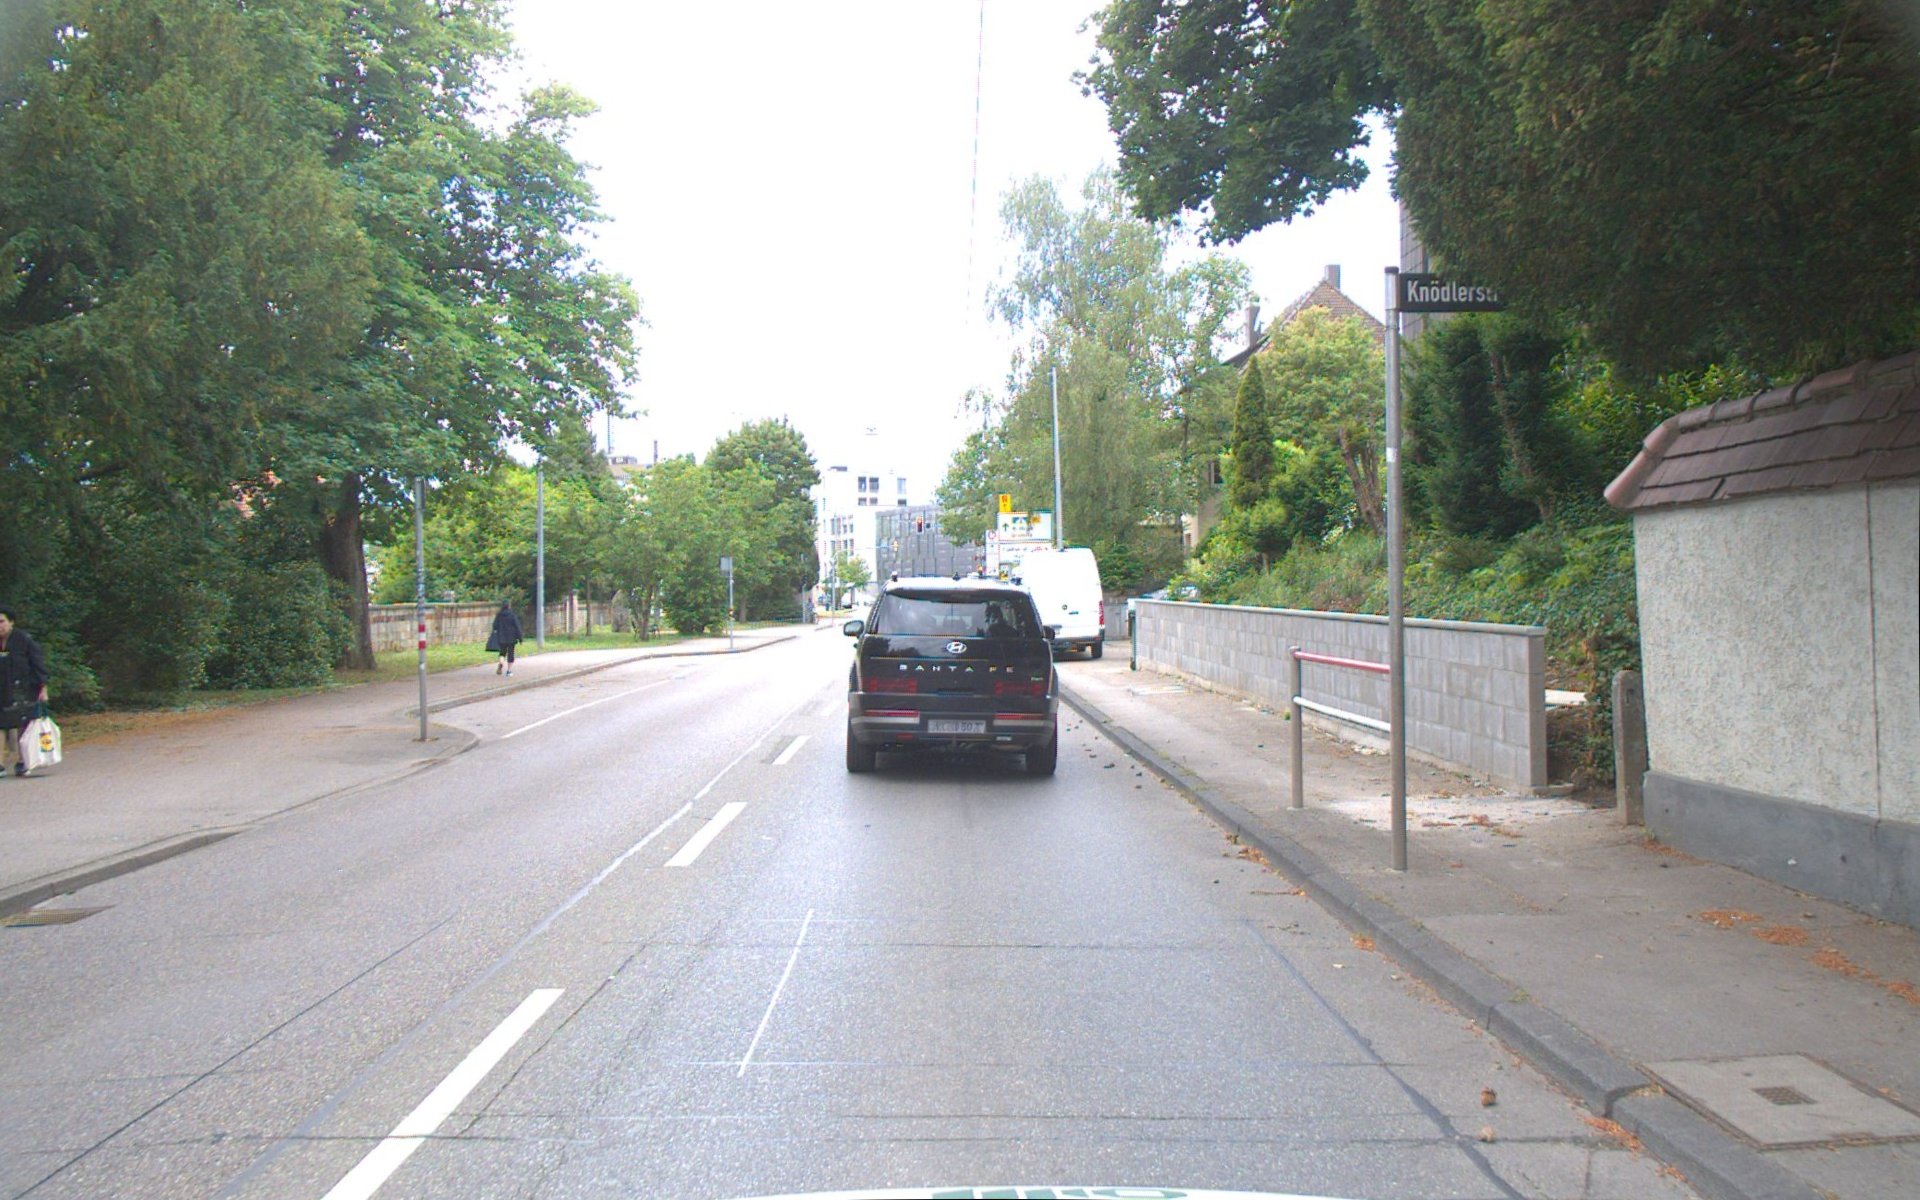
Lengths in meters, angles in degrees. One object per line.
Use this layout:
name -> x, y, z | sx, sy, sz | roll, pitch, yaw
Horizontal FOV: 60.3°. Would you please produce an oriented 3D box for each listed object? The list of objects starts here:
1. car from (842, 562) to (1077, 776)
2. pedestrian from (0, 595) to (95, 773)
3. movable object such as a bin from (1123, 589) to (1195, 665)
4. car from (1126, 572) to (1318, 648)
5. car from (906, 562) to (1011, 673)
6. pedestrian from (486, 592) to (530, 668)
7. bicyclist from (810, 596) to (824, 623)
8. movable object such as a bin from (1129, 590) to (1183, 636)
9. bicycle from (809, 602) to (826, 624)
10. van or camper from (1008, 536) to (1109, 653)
car -> -0.023, 0.570, 15.666 | 1.923, 1.741, 3.999 | 1, 0, -1
pedestrian -> -8.685, 0.763, 15.372 | 0.910, 1.587, 0.899 | 2, 0, -14
movable object such as a bin -> 4.027, 0.539, 33.541 | 1.273, 1.476, 1.180 | -1, -1, -1
car -> 6.232, 0.233, 39.697 | 4.304, 1.681, 1.830 | -1, 0, 0
car -> -0.077, 0.326, 32.568 | 1.924, 2.036, 3.999 | 1, 0, -2
pedestrian -> -9.715, 0.646, 35.577 | 0.734, 1.605, 0.965 | 1, 0, -5
bicyclist -> -8.979, 0.605, 103.866 | 0.664, 1.688, 0.855 | 1, -2, -15
movable object such as a bin -> 6.563, 0.432, 55.479 | 1.422, 1.499, 1.715 | 1, 0, -6
bicycle -> -8.976, 0.819, 103.832 | 0.664, 1.302, 2.491 | 1, -2, -14
van or camper -> 2.429, -0.132, 42.388 | 1.924, 2.673, 6.356 | -3, 0, -1
